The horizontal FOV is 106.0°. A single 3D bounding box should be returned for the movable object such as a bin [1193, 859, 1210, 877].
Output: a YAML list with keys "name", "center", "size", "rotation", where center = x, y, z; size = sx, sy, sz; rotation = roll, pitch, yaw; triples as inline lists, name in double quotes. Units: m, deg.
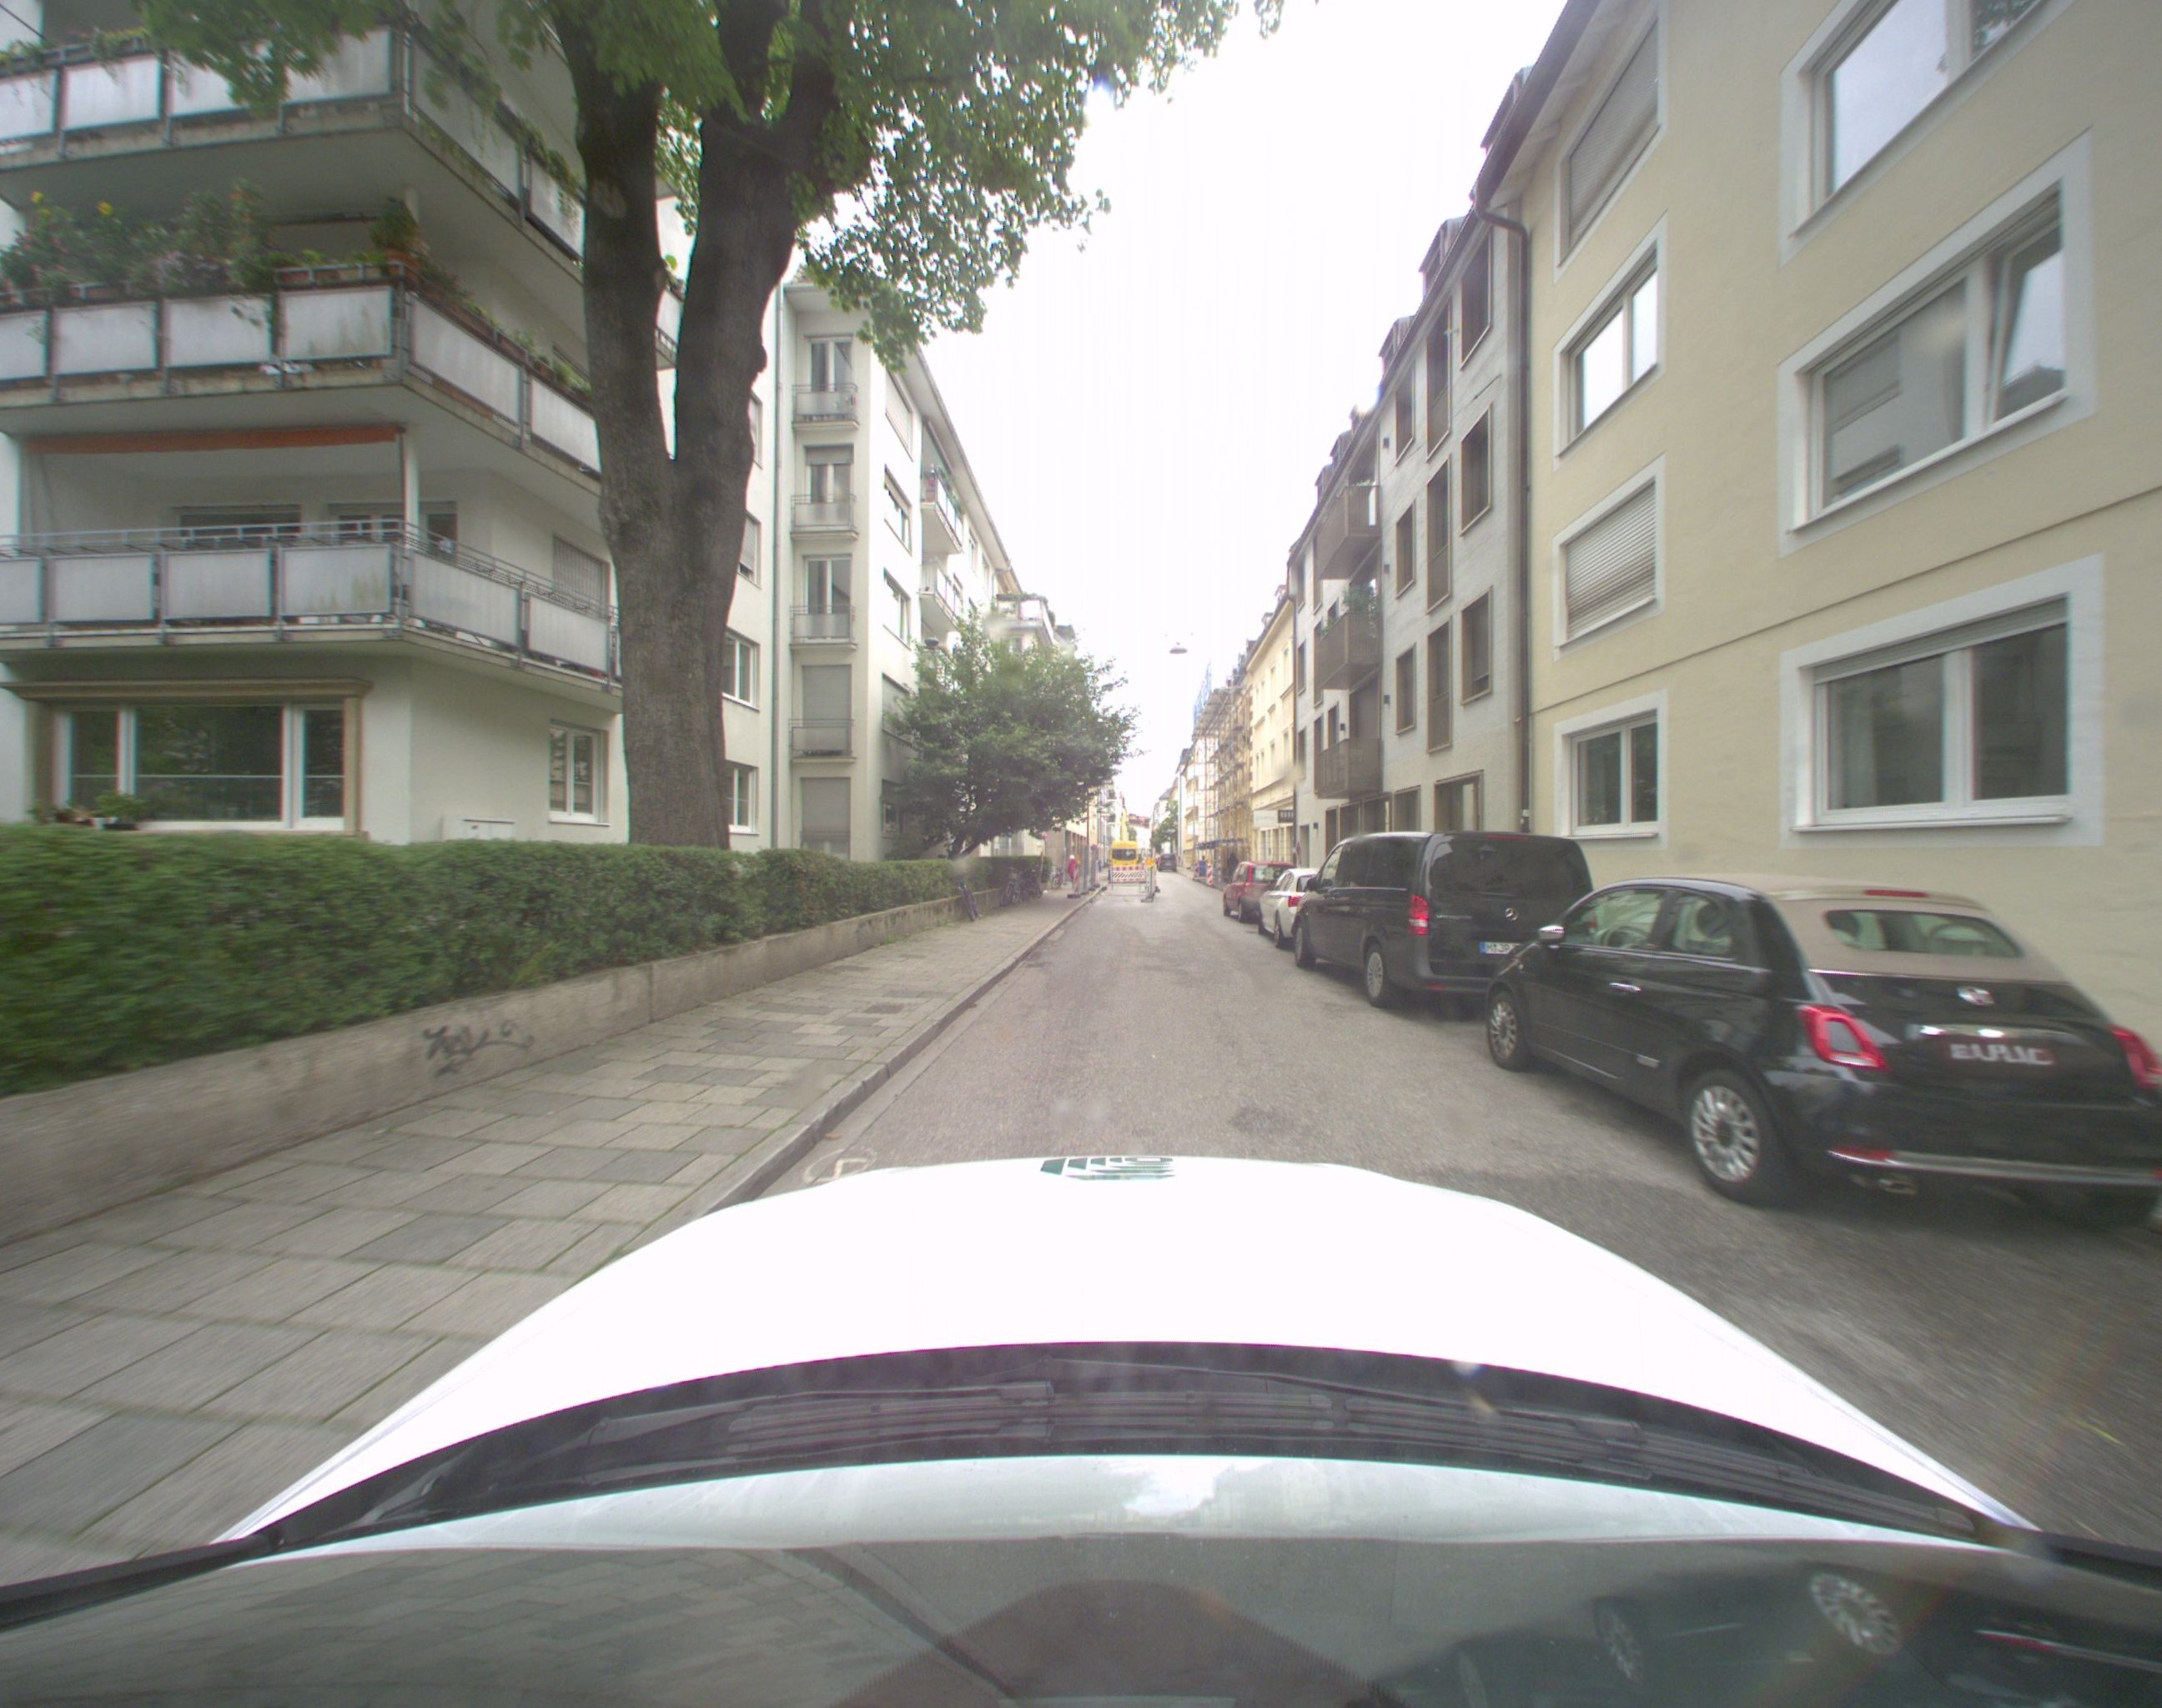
- name: "movable object such as a bin"
  center: [9.606, 1.079, 64.998]
  size: [1.078, 1.346, 1.323]
  rotation: [-3, 0, 16]

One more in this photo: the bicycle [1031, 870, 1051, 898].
- name: "bicycle"
  center: [-1.441, 1.071, 29.501]
  size: [0.441, 0.978, 1.818]
  rotation: [3, -1, 5]

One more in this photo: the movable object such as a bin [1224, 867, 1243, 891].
- name: "movable object such as a bin"
  center: [7.905, 1.301, 42.280]
  size: [0.726, 1.141, 0.989]
  rotation: [-5, -1, 2]

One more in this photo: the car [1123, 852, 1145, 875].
- name: "car"
  center: [4.597, 0.827, 70.799]
  size: [1.719, 1.897, 5.514]
  rotation: [-2, 0, 4]

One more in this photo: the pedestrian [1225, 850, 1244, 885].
- name: "pedestrian"
  center: [7.832, 0.675, 41.489]
  size: [0.726, 1.752, 0.989]
  rotation: [-4, -1, 3]

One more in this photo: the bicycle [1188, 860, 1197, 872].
- name: "bicycle"
  center: [11.021, 1.155, 80.473]
  size: [0.635, 1.153, 1.917]
  rotation: [-3, 0, 4]

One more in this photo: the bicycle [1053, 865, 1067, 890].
- name: "bicycle"
  center: [-0.976, 1.079, 37.437]
  size: [0.375, 1.063, 1.599]
  rotation: [6, 0, 5]

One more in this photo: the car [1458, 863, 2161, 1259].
- name: "car"
  center: [3.834, 0.825, 4.959]
  size: [1.627, 1.471, 3.542]
  rotation: [2, 0, 4]

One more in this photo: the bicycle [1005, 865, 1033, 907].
- name: "bicycle"
  center: [-1.776, 0.918, 23.614]
  size: [0.486, 1.151, 1.701]
  rotation: [3, -1, 5]

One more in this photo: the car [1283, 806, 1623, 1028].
- name: "car"
  center: [4.018, 0.584, 9.908]
  size: [1.983, 1.977, 4.886]
  rotation: [2, 0, 1]

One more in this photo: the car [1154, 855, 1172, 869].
- name: "car"
  center: [9.779, 0.948, 97.494]
  size: [1.886, 1.641, 4.325]
  rotation: [0, 0, 3]

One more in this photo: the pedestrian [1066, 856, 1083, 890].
- name: "pedestrian"
  center: [-0.307, 0.874, 38.149]
  size: [0.635, 1.532, 0.748]
  rotation: [-2, -1, 6]

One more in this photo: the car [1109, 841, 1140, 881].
- name: "car"
  center: [2.980, 0.470, 55.732]
  size: [1.985, 2.579, 6.742]
  rotation: [-1, 0, 3]

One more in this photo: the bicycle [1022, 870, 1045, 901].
- name: "bicycle"
  center: [-1.596, 1.052, 27.639]
  size: [0.441, 0.978, 1.856]
  rotation: [3, -1, 5]

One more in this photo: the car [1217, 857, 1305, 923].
- name: "car"
  center: [4.635, 0.875, 21.486]
  size: [1.763, 1.524, 4.073]
  rotation: [2, 0, 6]

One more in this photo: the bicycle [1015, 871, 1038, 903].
- name: "bicycle"
  center: [-1.725, 1.039, 26.081]
  size: [0.433, 0.978, 1.701]
  rotation: [3, -1, 5]

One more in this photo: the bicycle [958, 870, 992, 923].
- name: "bicycle"
  center: [-2.338, 0.913, 18.174]
  size: [0.345, 1.072, 1.782]
  rotation: [3, 0, 4]

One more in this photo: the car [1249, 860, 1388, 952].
- name: "car"
  center: [4.416, 0.890, 15.794]
  size: [1.760, 1.461, 4.386]
  rotation: [2, 0, 5]

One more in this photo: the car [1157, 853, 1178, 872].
- name: "car"
  center: [9.235, 0.854, 87.485]
  size: [1.985, 1.932, 4.663]
  rotation: [1, 0, 3]
